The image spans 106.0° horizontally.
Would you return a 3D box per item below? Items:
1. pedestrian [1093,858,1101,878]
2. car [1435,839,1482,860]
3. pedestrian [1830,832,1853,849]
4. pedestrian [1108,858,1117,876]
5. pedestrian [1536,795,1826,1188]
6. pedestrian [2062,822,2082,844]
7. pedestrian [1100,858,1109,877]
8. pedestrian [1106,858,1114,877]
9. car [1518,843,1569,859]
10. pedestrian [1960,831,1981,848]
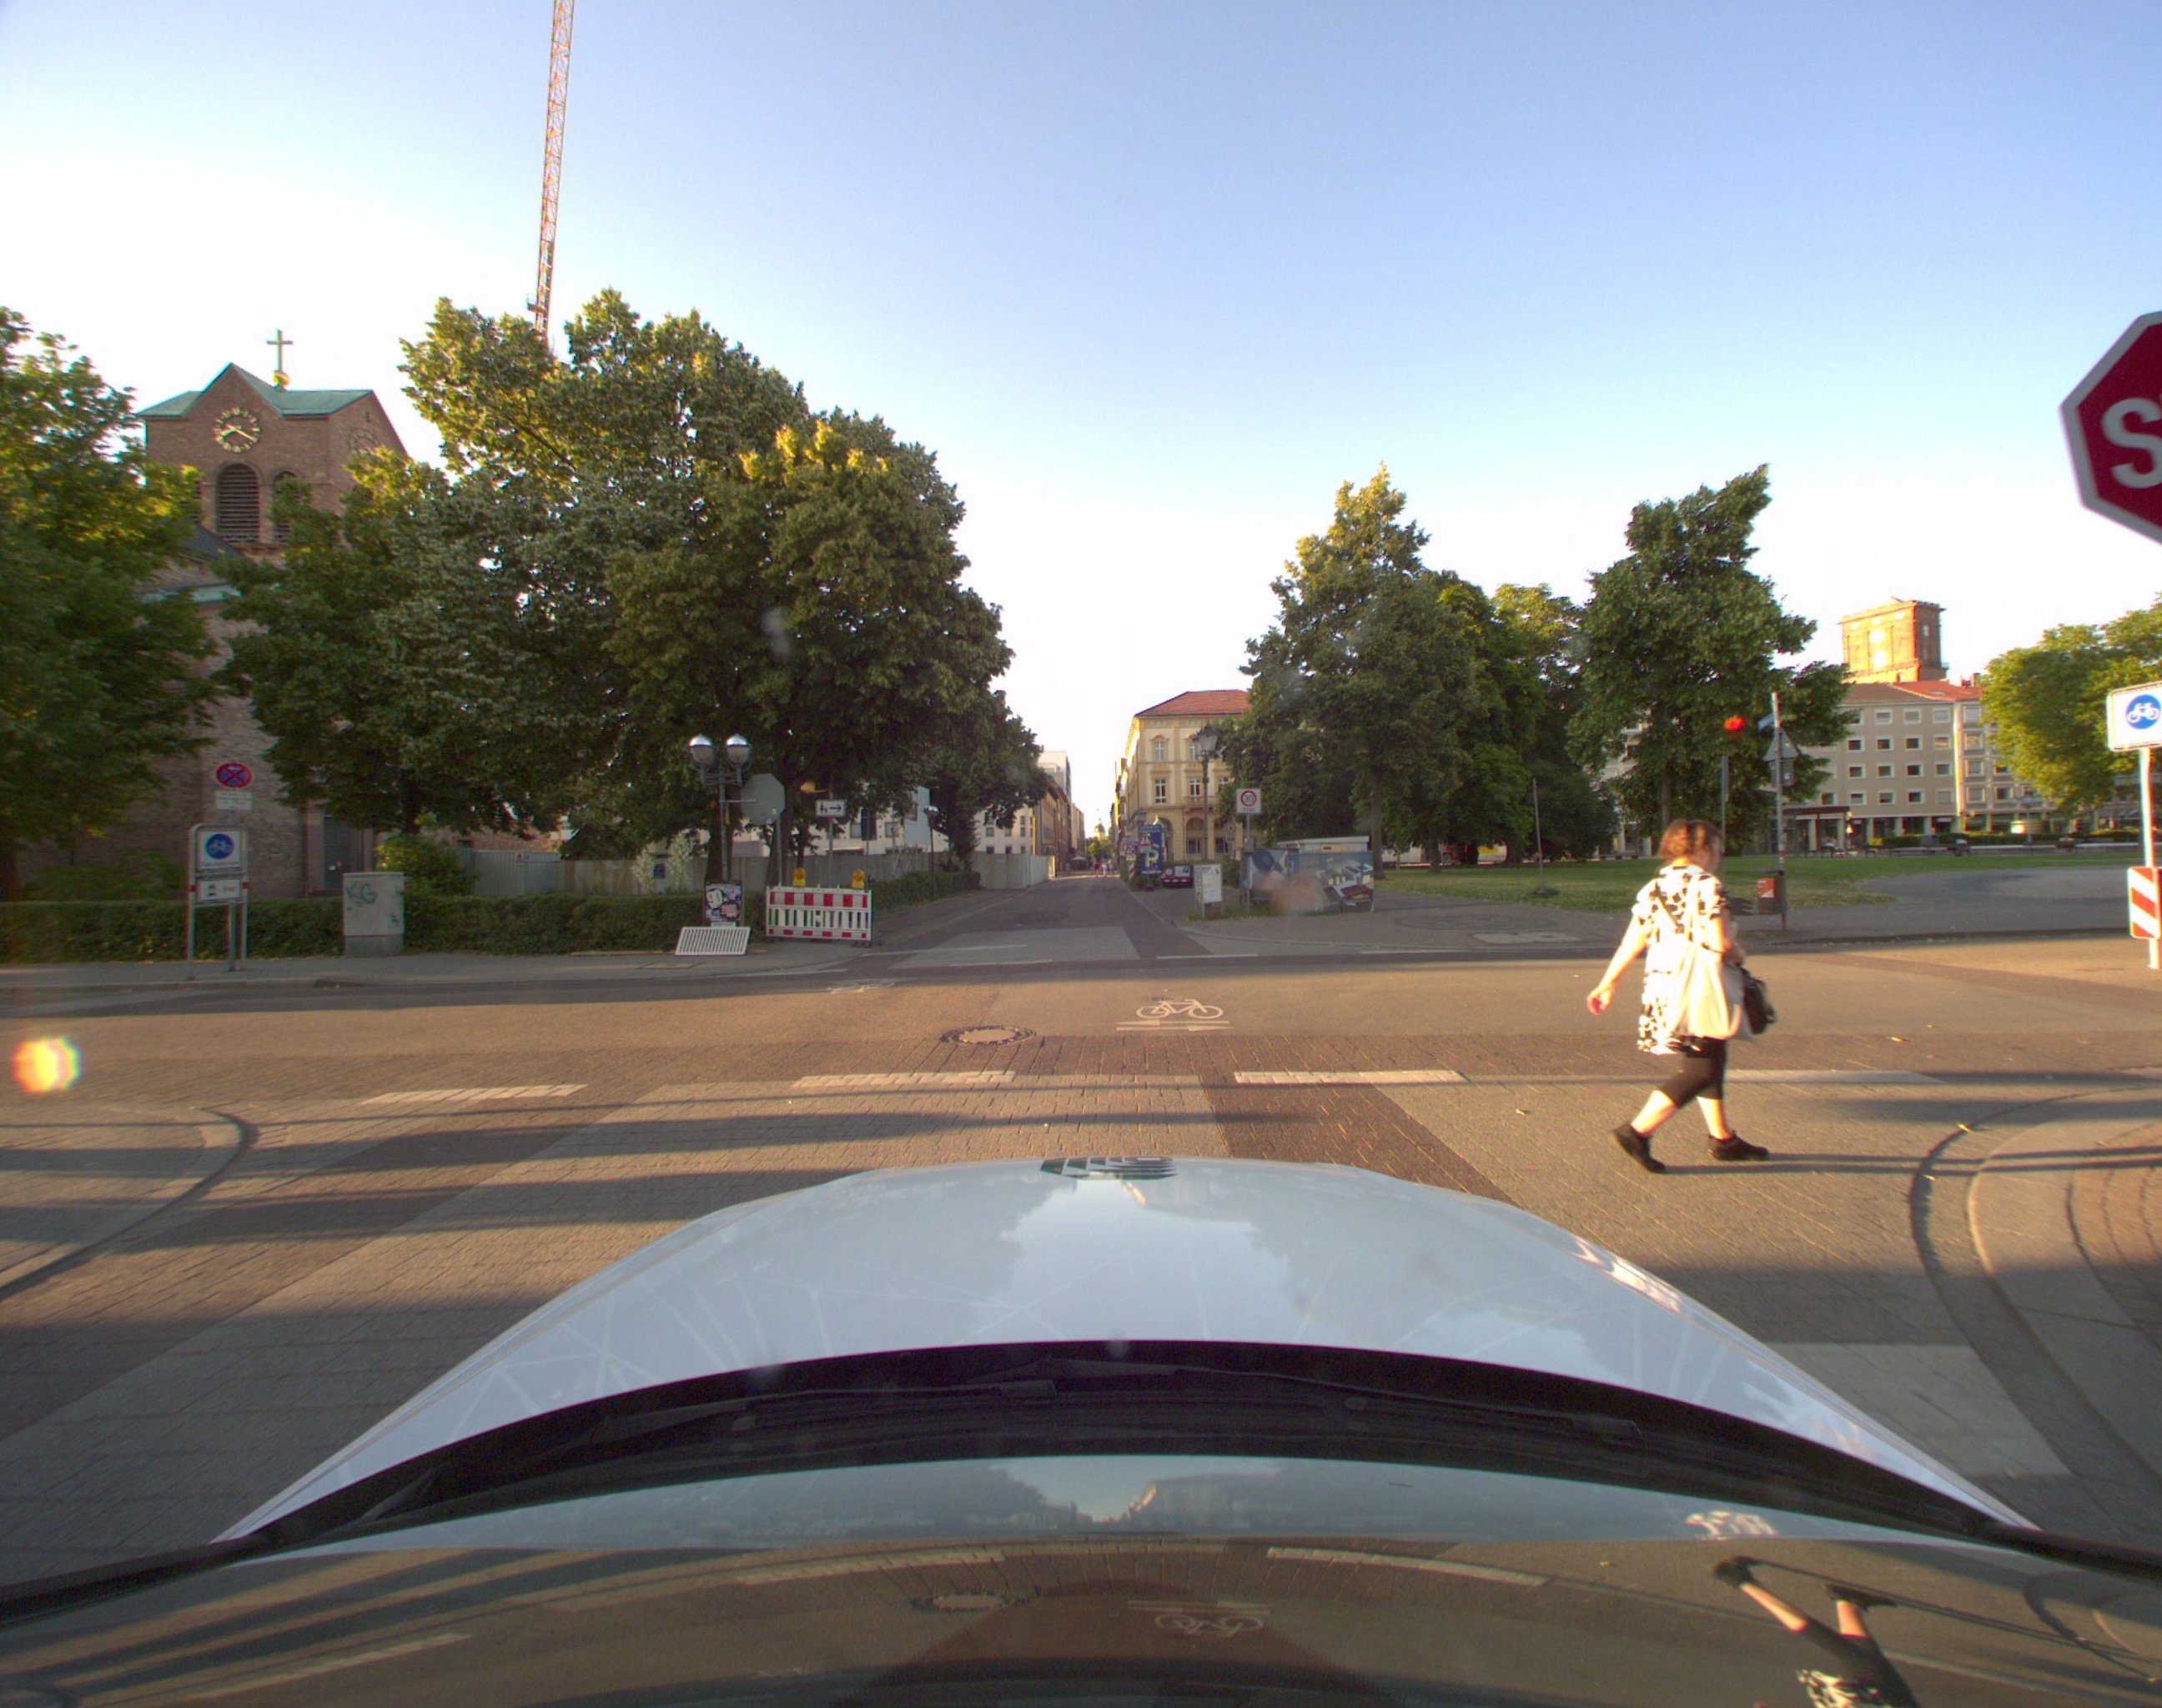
[{"bbox_3d":[1.461,1.220,73.033,0.655,1.760,0.745,-2,-1,1],"label":"pedestrian"},{"bbox_3d":[40.044,-0.464,86.462,4.015,2.014,2.001,-2,-1,2],"label":"car"},{"bbox_3d":[50.232,-0.913,53.766,0.889,1.077,0.624,-3,-1,18],"label":"pedestrian"},{"bbox_3d":[2.770,1.150,71.689,0.655,1.617,0.745,-2,-1,1],"label":"pedestrian"},{"bbox_3d":[2.858,0.603,3.983,0.731,1.689,0.836,-2,-1,1],"label":"pedestrian"},{"bbox_3d":[52.172,-1.100,42.883,0.514,1.077,0.614,-2,-1,-39],"label":"pedestrian"},{"bbox_3d":[2.079,1.213,71.682,0.655,1.617,0.745,-2,-1,1],"label":"pedestrian"},{"bbox_3d":[2.562,1.222,72.969,0.655,1.636,0.745,-2,-1,1],"label":"pedestrian"},{"bbox_3d":[42.410,-0.269,74.790,3.568,1.240,1.996,-2,-1,-6],"label":"car"},{"bbox_3d":[50.510,-0.799,46.241,0.512,0.925,0.616,-2,-1,-24],"label":"pedestrian"}]
